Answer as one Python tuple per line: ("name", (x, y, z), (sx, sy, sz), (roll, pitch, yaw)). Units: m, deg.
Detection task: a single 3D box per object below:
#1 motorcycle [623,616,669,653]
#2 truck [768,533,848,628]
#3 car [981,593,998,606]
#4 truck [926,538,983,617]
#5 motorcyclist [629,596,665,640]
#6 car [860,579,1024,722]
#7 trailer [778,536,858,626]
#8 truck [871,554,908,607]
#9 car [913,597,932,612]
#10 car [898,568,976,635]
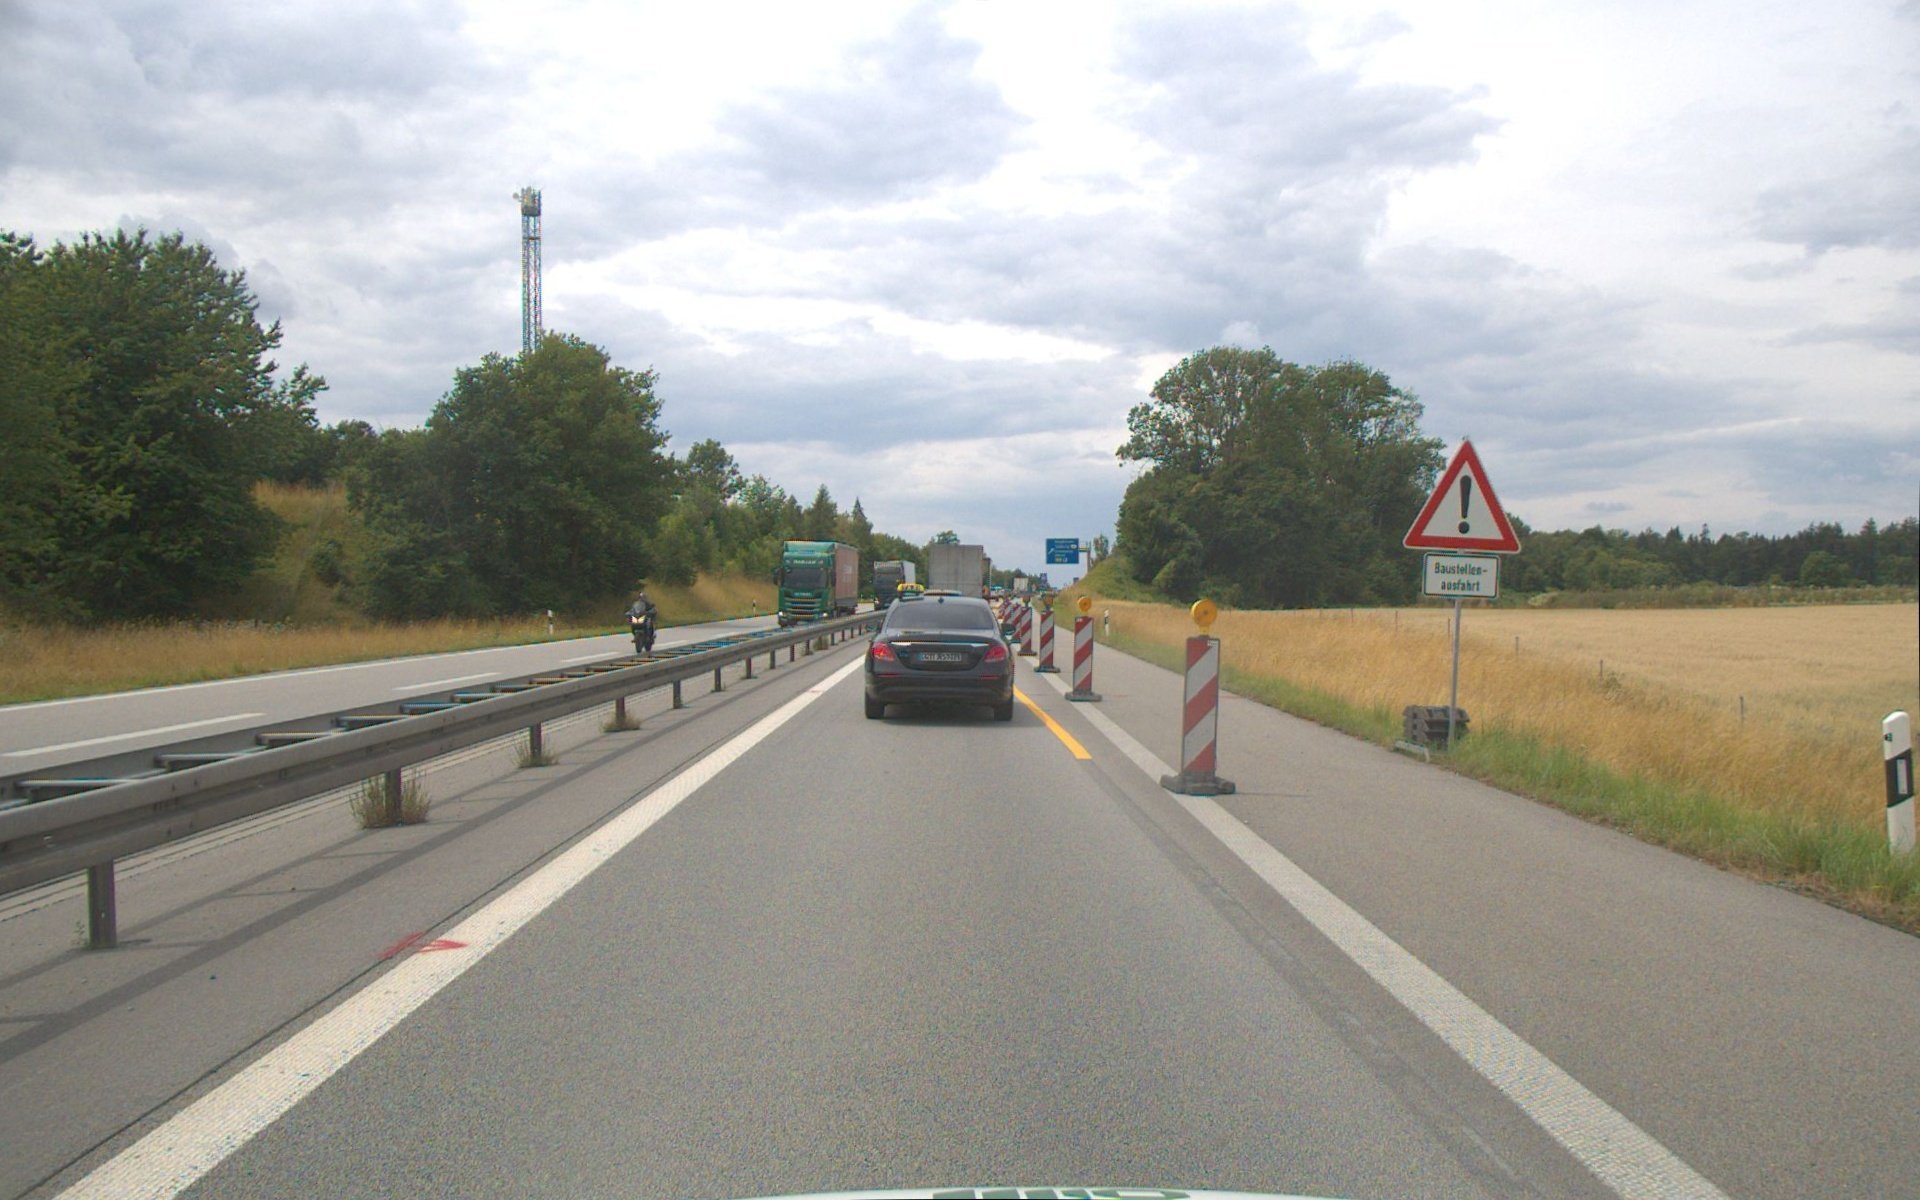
("motorcycle", (-8.987, 0.977, 47.425), (0.838, 0.950, 2.724), (1, 0, -1))
("truck", (-7.254, -0.873, 79.758), (3.058, 4.287, 6.781), (1, -1, 1))
("car", (3.380, -0.062, 192.020), (1.617, 1.420, 3.702), (1, -1, -5))
("truck", (-0.296, -1.033, 79.619), (2.535, 3.586, 4.811), (1, -1, -2))
("motorcyclist", (-8.969, 0.526, 47.445), (0.843, 1.230, 0.960), (1, -1, -1))
("car", (-0.132, 0.597, 20.836), (1.758, 1.587, 4.001), (1, -1, 3))
("trailer", (-7.232, -0.871, 85.806), (3.086, 4.287, 11.641), (1, -1, 0))
("truck", (-5.916, -1.559, 139.388), (2.585, 4.243, 6.986), (1, -1, 1))
("car", (-4.135, 0.522, 183.722), (1.952, 1.646, 4.000), (1, -1, 1))
("car", (-0.786, 0.063, 53.874), (1.957, 2.049, 3.991), (1, -1, -9))
